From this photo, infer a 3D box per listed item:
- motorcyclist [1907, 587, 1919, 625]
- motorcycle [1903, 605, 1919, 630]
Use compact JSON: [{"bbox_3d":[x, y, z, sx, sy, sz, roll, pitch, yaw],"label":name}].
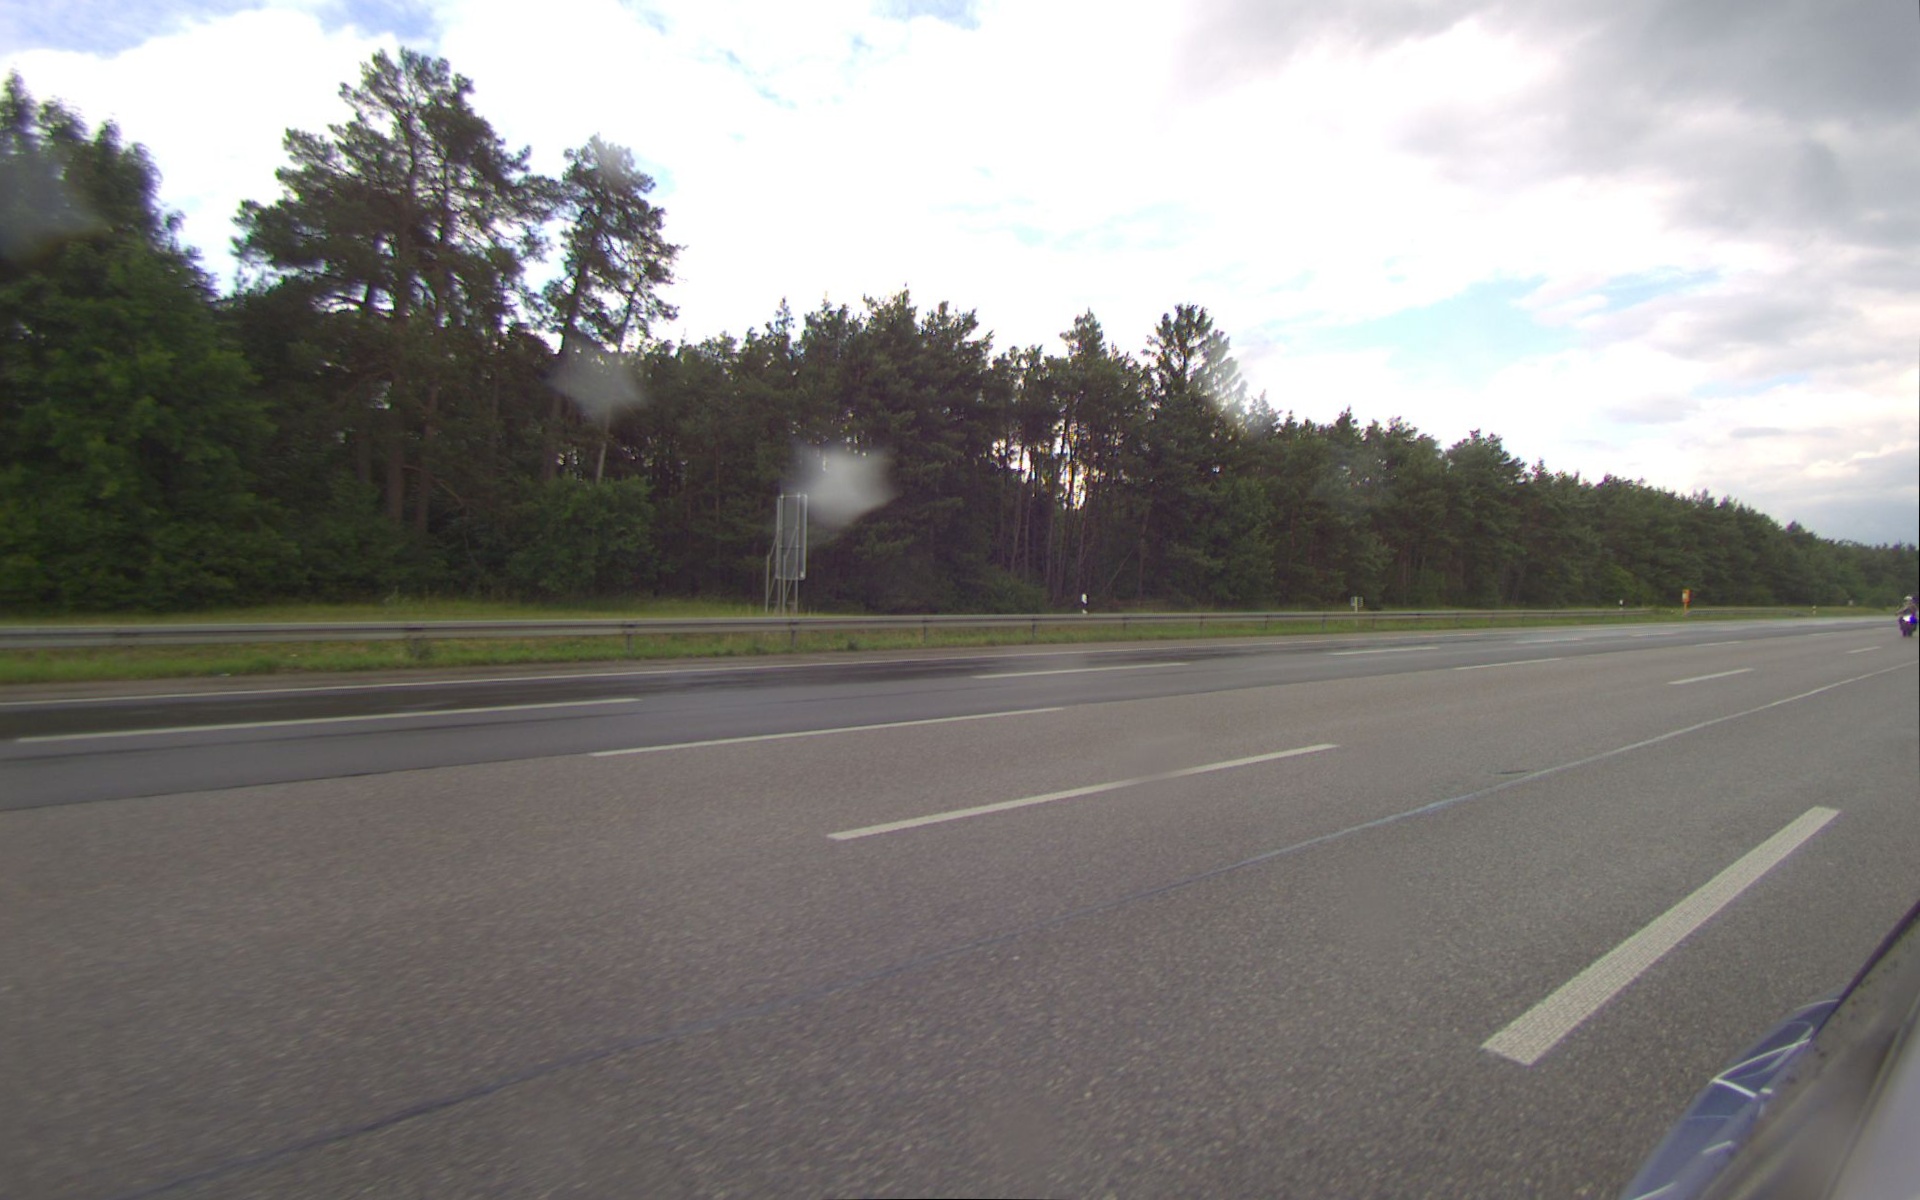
[{"bbox_3d":[41.811,0.275,43.920,0.941,1.635,0.894,1,0,-37],"label":"motorcyclist"},{"bbox_3d":[41.941,0.761,44.024,2.133,1.044,1.003,1,1,-37],"label":"motorcycle"}]
